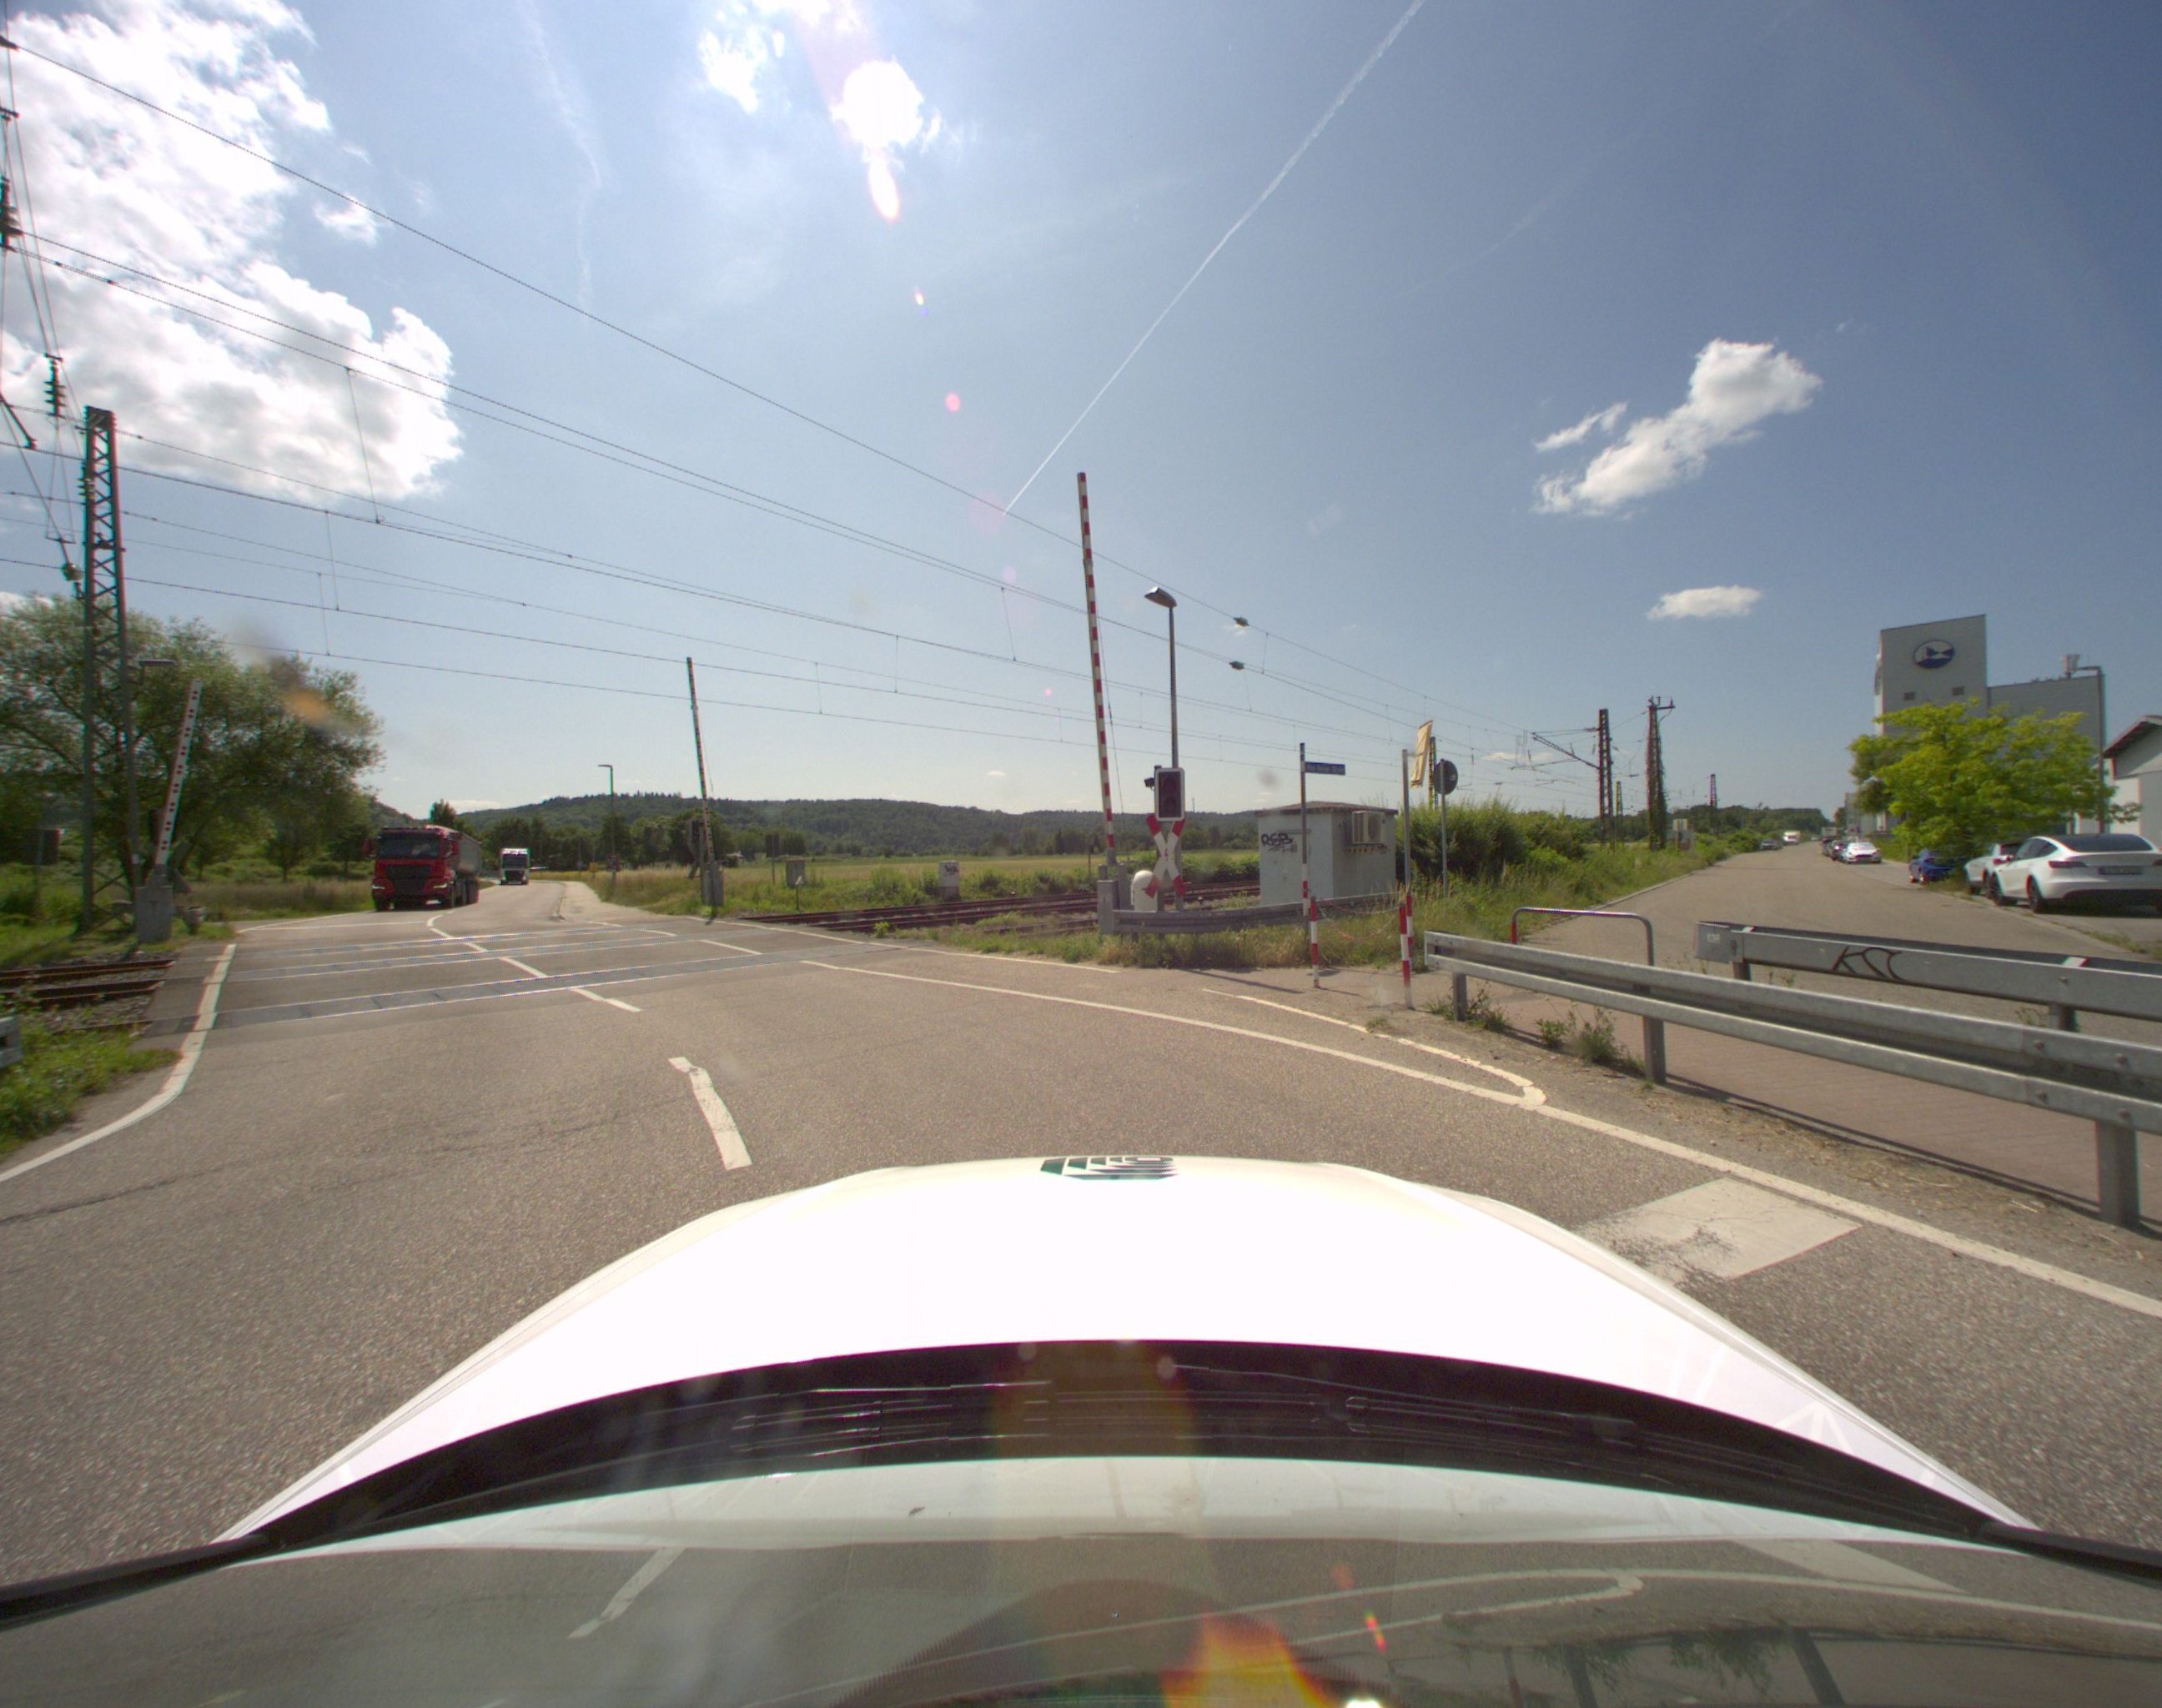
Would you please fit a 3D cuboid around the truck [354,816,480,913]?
[{"bbox_3d":[-30.069,0.489,37.423,2.891,3.745,12.026,-1,0,-32],"label":"truck"}]

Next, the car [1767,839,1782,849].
[{"bbox_3d":[105.156,-1.494,123.409,1.630,1.478,2.920,-1,0,42],"label":"car"}]

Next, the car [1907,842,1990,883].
[{"bbox_3d":[31.508,0.284,29.656,1.560,1.376,3.075,-1,0,38],"label":"car"}]

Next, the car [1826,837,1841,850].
[{"bbox_3d":[84.139,-1.192,91.070,1.200,1.478,3.196,-1,0,42],"label":"car"}]

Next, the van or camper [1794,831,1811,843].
[{"bbox_3d":[149.271,-3.477,168.483,2.475,2.450,4.893,-1,0,43],"label":"van or camper"}]

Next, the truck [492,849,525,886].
[{"bbox_3d":[-62.909,1.475,89.544,2.589,3.948,5.977,-2,0,-32],"label":"truck"}]

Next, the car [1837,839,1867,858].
[{"bbox_3d":[62.067,-0.441,65.591,1.576,1.453,3.354,-1,0,42],"label":"car"}]

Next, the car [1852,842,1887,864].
[{"bbox_3d":[54.481,-0.059,56.290,1.576,1.453,3.354,-1,0,42],"label":"car"}]

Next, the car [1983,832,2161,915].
[{"bbox_3d":[21.123,0.333,17.249,1.974,1.510,4.483,-1,0,39],"label":"car"}]

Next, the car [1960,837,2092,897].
[{"bbox_3d":[25.062,0.312,21.737,1.630,1.455,4.025,-1,0,40],"label":"car"}]
